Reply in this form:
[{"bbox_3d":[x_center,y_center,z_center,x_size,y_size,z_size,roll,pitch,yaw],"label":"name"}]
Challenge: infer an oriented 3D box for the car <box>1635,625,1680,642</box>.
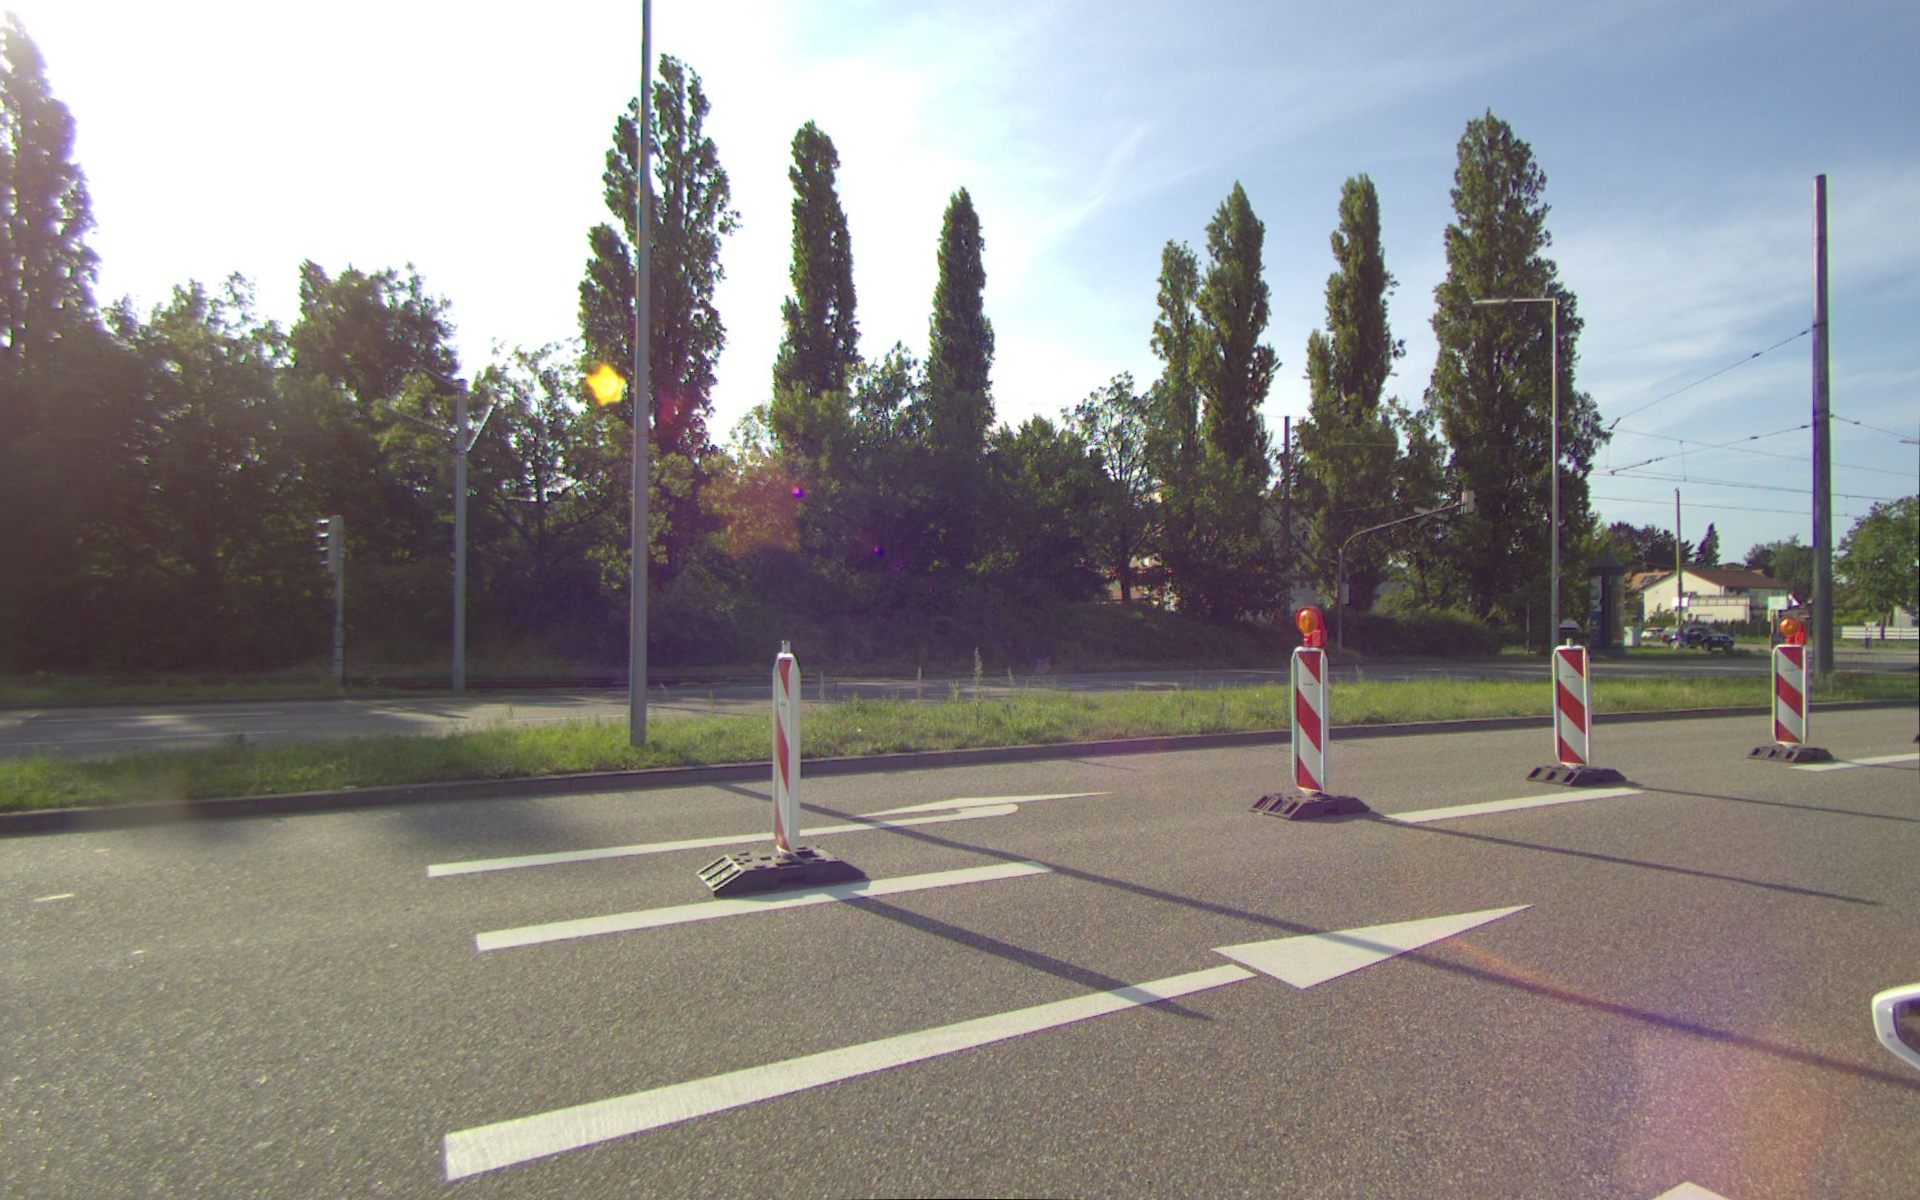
[{"bbox_3d":[78.231,3.769,112.635,4.151,1.706,1.993,2,0,-16],"label":"car"}]
